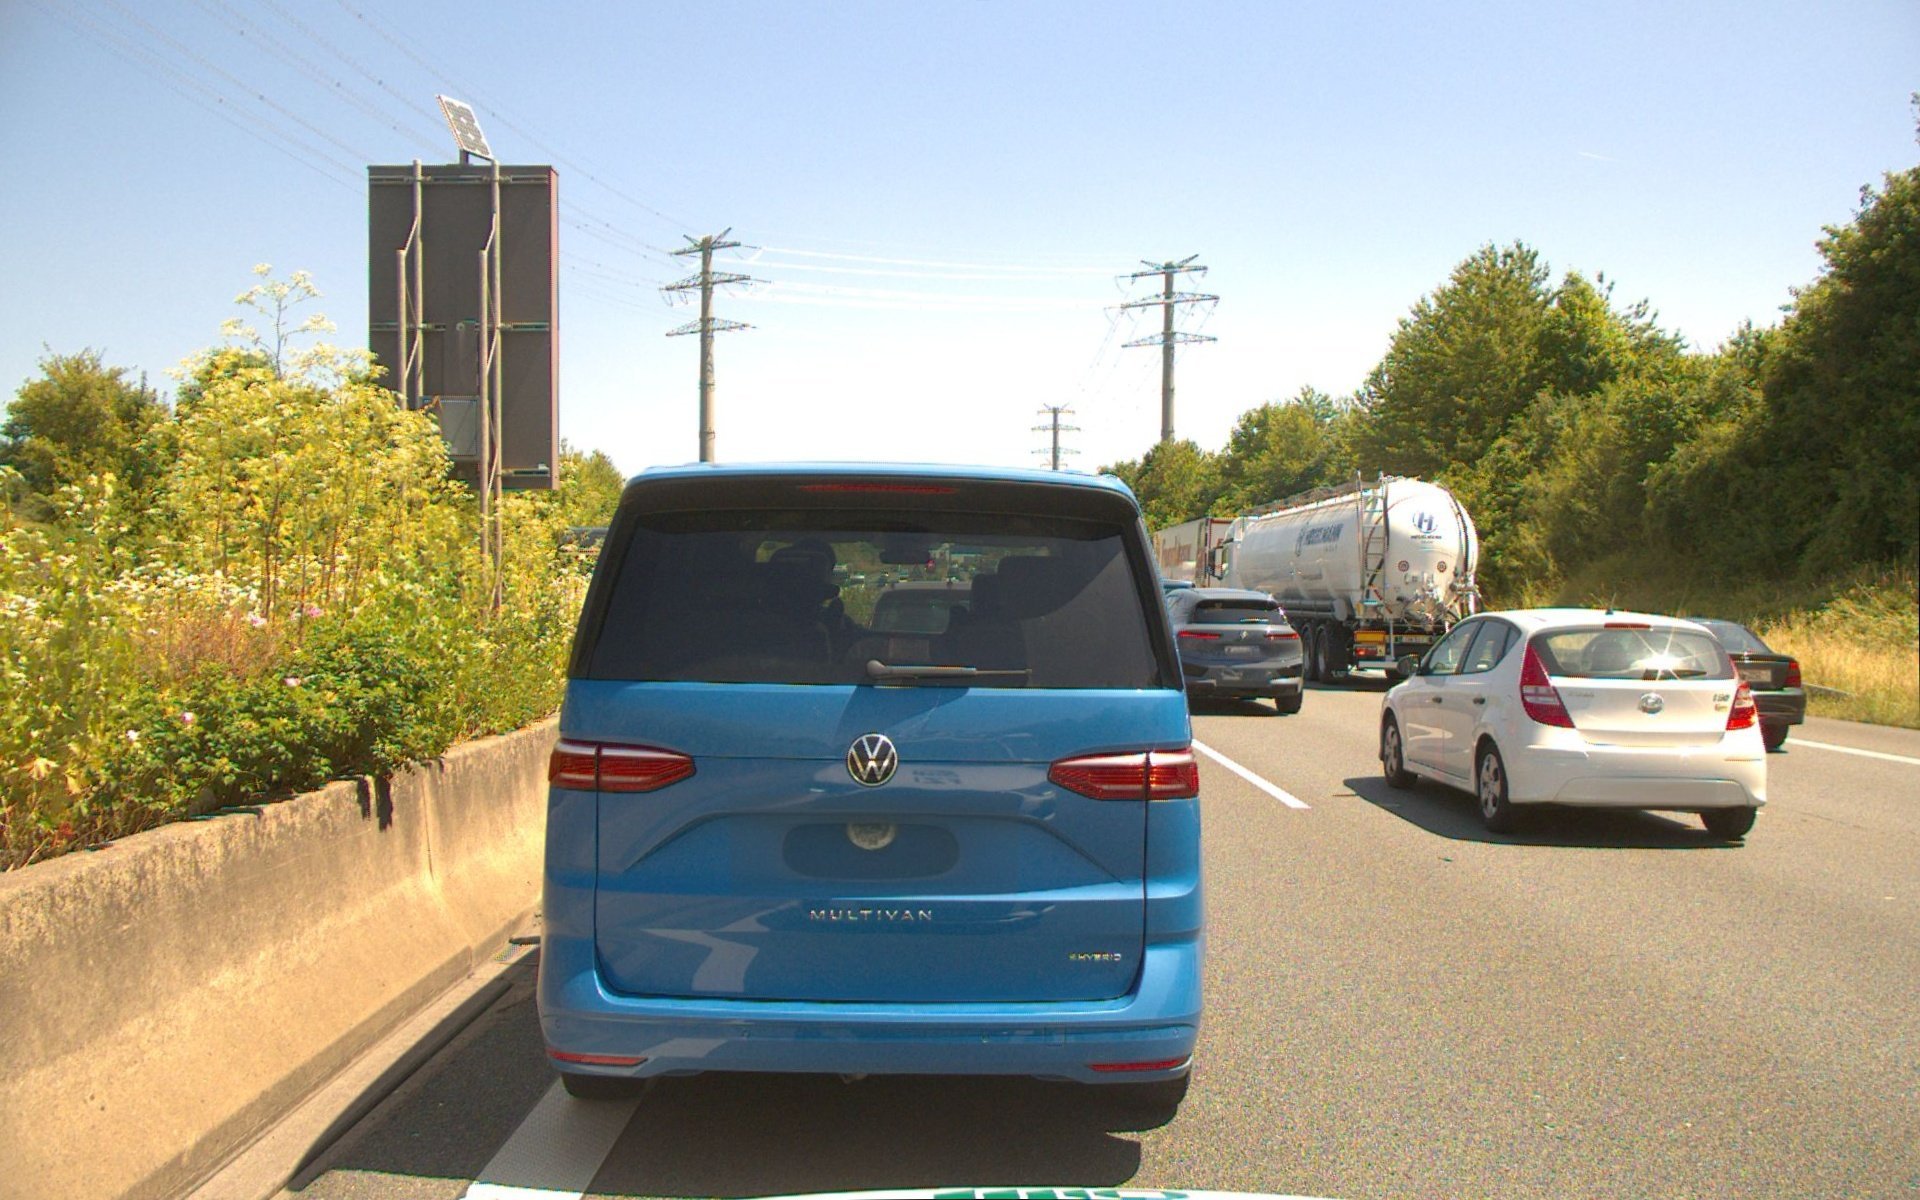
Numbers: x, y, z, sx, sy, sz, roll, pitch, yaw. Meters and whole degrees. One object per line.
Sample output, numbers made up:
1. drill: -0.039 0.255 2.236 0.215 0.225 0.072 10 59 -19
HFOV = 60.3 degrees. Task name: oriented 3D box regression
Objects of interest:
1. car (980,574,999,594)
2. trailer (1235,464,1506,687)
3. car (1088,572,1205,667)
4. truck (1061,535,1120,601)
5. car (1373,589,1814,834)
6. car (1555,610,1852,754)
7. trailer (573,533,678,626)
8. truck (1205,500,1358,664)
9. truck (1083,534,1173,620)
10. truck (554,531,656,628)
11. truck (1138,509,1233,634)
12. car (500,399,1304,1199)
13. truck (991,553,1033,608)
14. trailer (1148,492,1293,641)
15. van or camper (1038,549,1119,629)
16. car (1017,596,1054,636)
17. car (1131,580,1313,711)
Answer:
1. car: 3.328 -1.781 187.594 1.953 2.163 3.999 0 0 -1
2. trailer: 8.203 -0.433 34.916 2.705 3.912 11.484 0 0 -1
3. car: 4.083 0.437 36.911 1.885 1.959 4.232 -1 -1 -3
4. truck: 8.170 -1.890 105.032 2.836 3.832 13.344 0 0 0
5. car: 4.428 0.716 12.267 1.779 1.511 4.000 0 -1 1
6. car: 8.341 0.864 18.957 1.607 1.441 3.988 -1 -1 0
7. trailer: -14.378 -0.841 71.645 3.061 3.825 7.868 0 0 -1
8. truck: 8.071 -0.432 42.177 2.736 3.903 5.571 0 0 -1
9. truck: 8.068 -0.985 81.675 2.944 3.832 15.712 0 0 0
10. truck: -14.319 -0.809 67.075 3.009 3.774 5.462 0 0 -1
11. truck: 8.537 -1.042 63.173 2.853 4.547 5.141 0 0 -1
12. car: -0.144 0.493 5.962 1.881 1.919 4.000 1 0 0
13. truck: 3.755 -1.359 121.662 2.836 3.832 10.140 0 0 0
14. trailer: 8.641 -1.034 56.569 2.853 4.547 12.151 0 0 -1
15. van or camper: 4.729 -0.391 67.275 2.896 3.075 7.103 0 0 1
16. car: 4.003 0.843 88.002 1.798 2.033 4.000 -1 -1 1
17. car: 3.734 0.634 24.334 1.958 1.745 4.625 0 -1 0
